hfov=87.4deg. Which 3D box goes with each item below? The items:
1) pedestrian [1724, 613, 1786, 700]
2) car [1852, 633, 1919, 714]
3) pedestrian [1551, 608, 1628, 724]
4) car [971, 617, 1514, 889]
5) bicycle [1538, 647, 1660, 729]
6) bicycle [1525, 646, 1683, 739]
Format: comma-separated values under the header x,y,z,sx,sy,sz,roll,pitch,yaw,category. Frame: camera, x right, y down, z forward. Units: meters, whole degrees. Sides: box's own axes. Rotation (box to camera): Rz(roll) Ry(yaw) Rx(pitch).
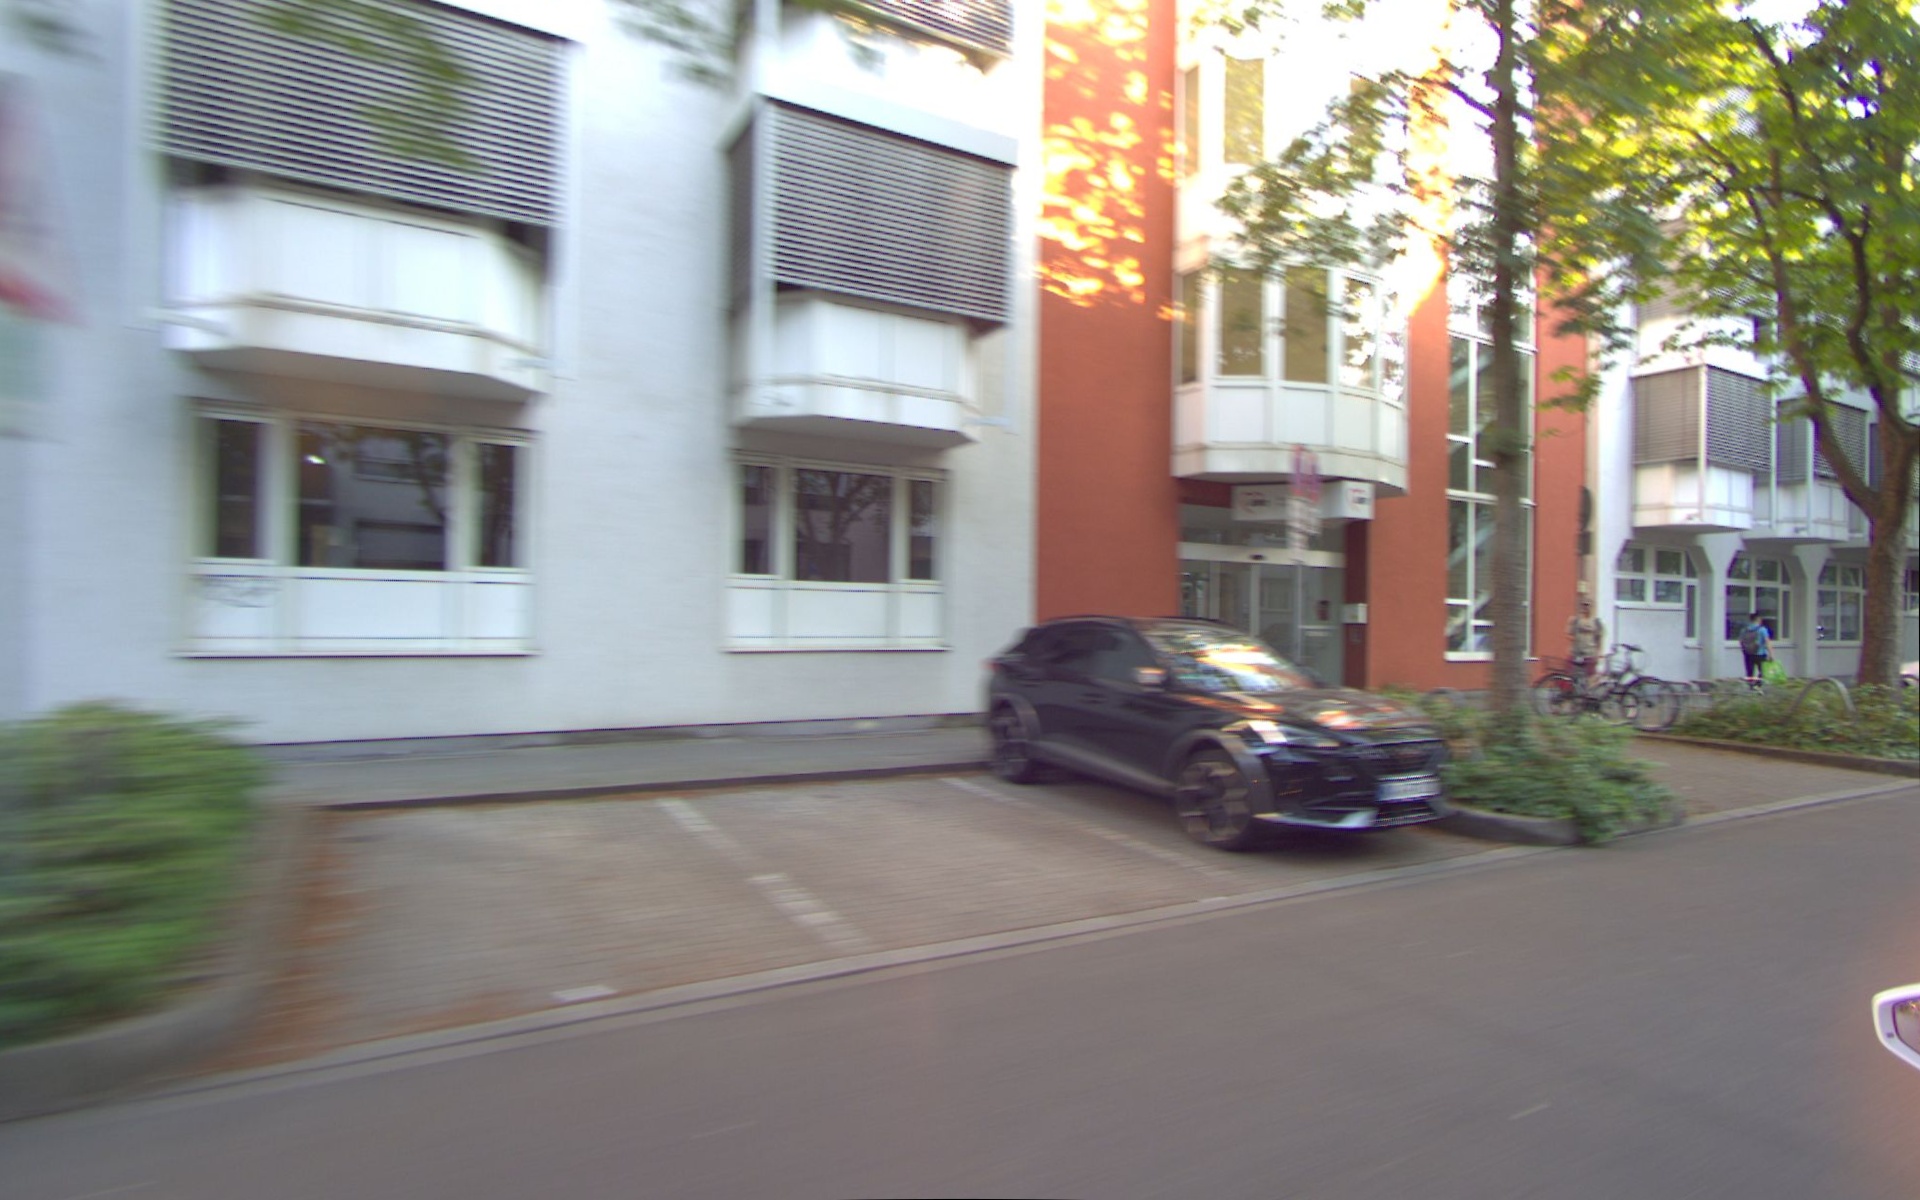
x,y,z,sx,sy,sz,roll,pitch,yaw,category
16.453,1.151,20.792,0.894,1.751,0.700,2,-1,-30,pedestrian
19.595,1.452,18.892,1.735,1.506,3.855,1,0,-27,car
9.889,1.019,15.797,0.726,1.780,0.705,1,0,-6,pedestrian
1.954,0.954,8.191,1.907,1.506,4.107,1,0,-30,car
9.460,1.275,14.949,0.491,1.043,1.798,1,0,-7,bicycle
8.806,1.234,13.767,1.771,1.122,0.498,1,0,37,bicycle
